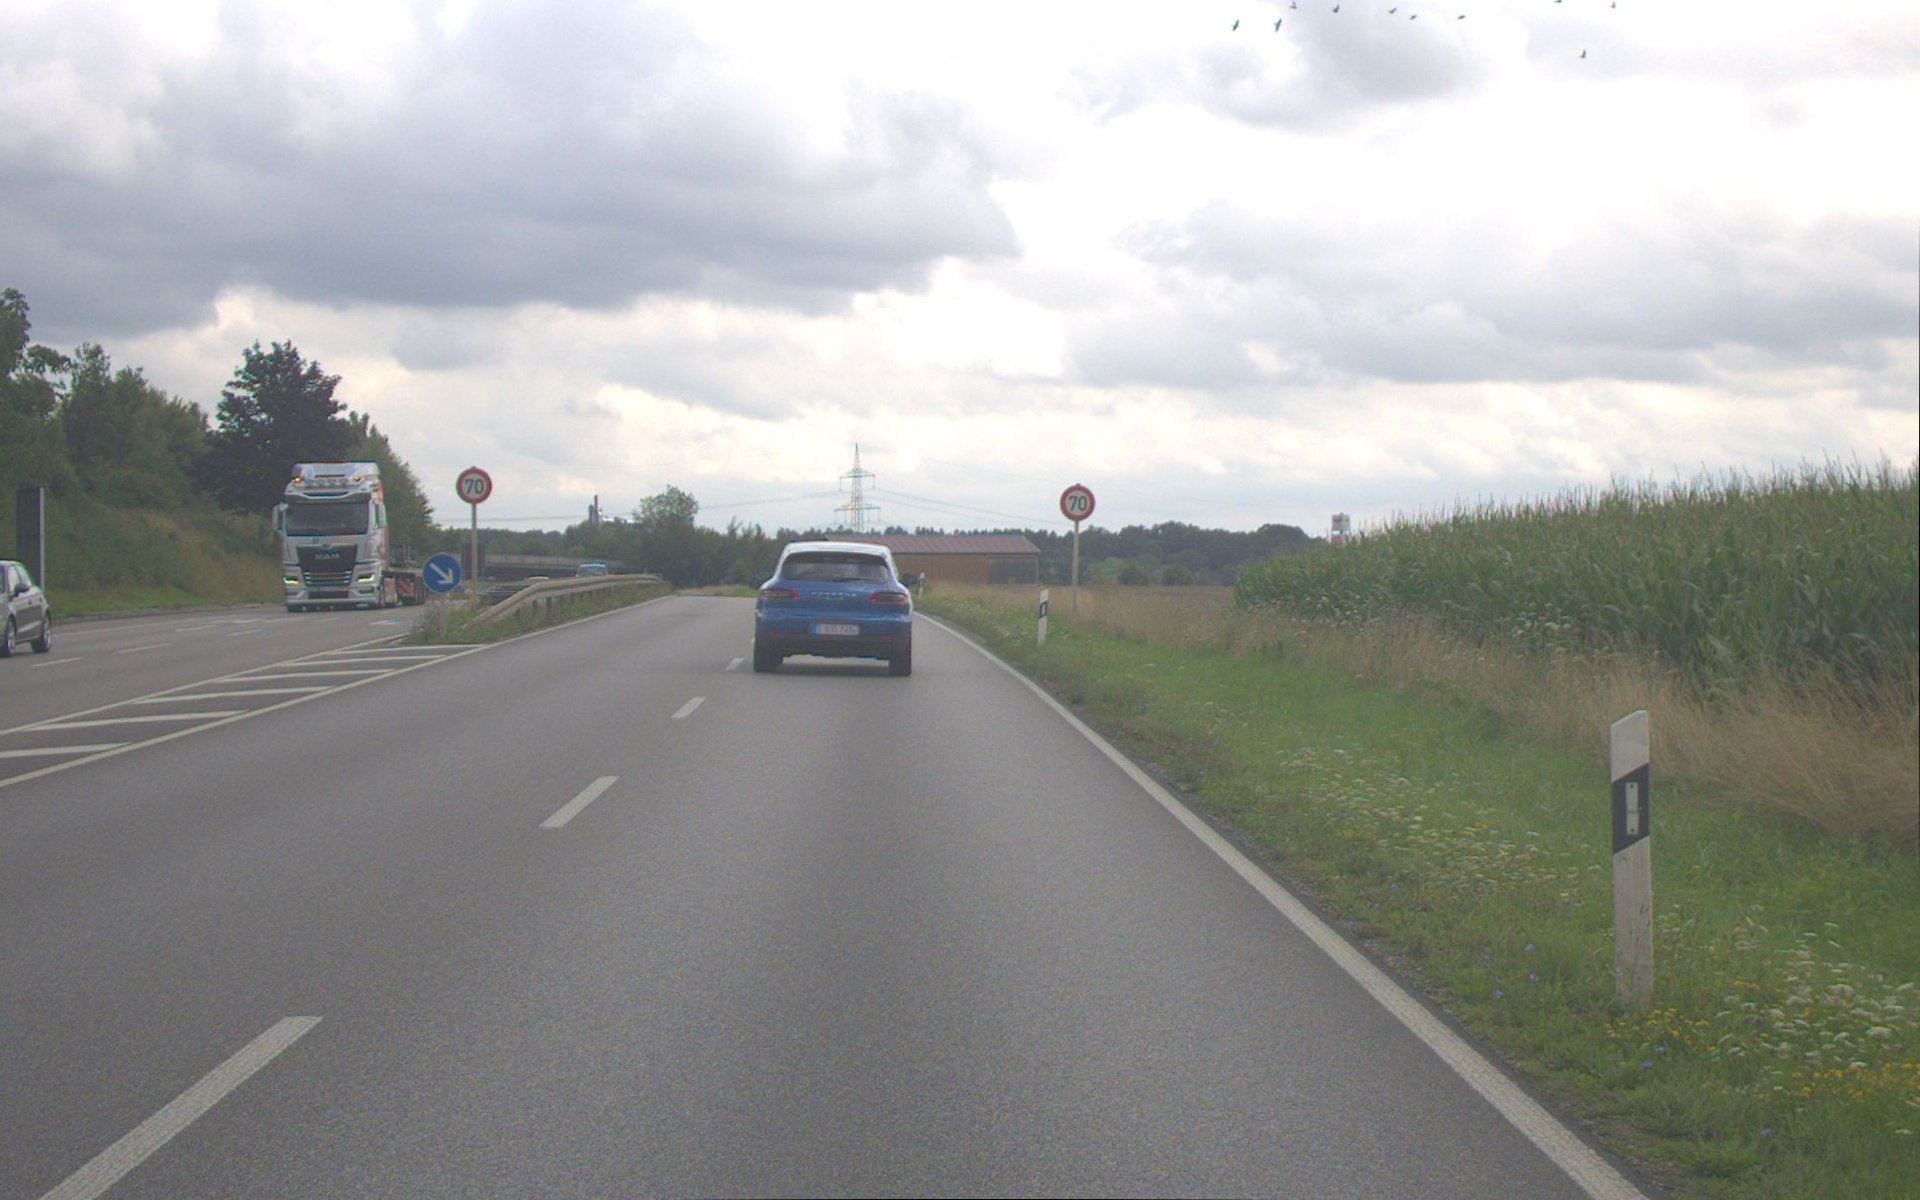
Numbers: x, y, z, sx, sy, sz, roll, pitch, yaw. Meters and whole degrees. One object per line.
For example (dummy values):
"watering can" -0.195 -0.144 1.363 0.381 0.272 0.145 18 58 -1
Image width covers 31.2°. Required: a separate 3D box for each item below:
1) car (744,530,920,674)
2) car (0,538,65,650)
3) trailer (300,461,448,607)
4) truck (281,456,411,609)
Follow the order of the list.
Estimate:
"car" -1.633 -0.007 43.020 2.033 1.655 4.544 2 1 -3
"car" -14.382 -0.102 50.157 1.732 1.524 4.194 -1 2 -3
"trailer" -16.875 -1.958 99.769 2.775 3.933 12.988 0 1 -3
"truck" -16.472 -1.825 92.531 2.802 3.983 5.287 0 1 -3
